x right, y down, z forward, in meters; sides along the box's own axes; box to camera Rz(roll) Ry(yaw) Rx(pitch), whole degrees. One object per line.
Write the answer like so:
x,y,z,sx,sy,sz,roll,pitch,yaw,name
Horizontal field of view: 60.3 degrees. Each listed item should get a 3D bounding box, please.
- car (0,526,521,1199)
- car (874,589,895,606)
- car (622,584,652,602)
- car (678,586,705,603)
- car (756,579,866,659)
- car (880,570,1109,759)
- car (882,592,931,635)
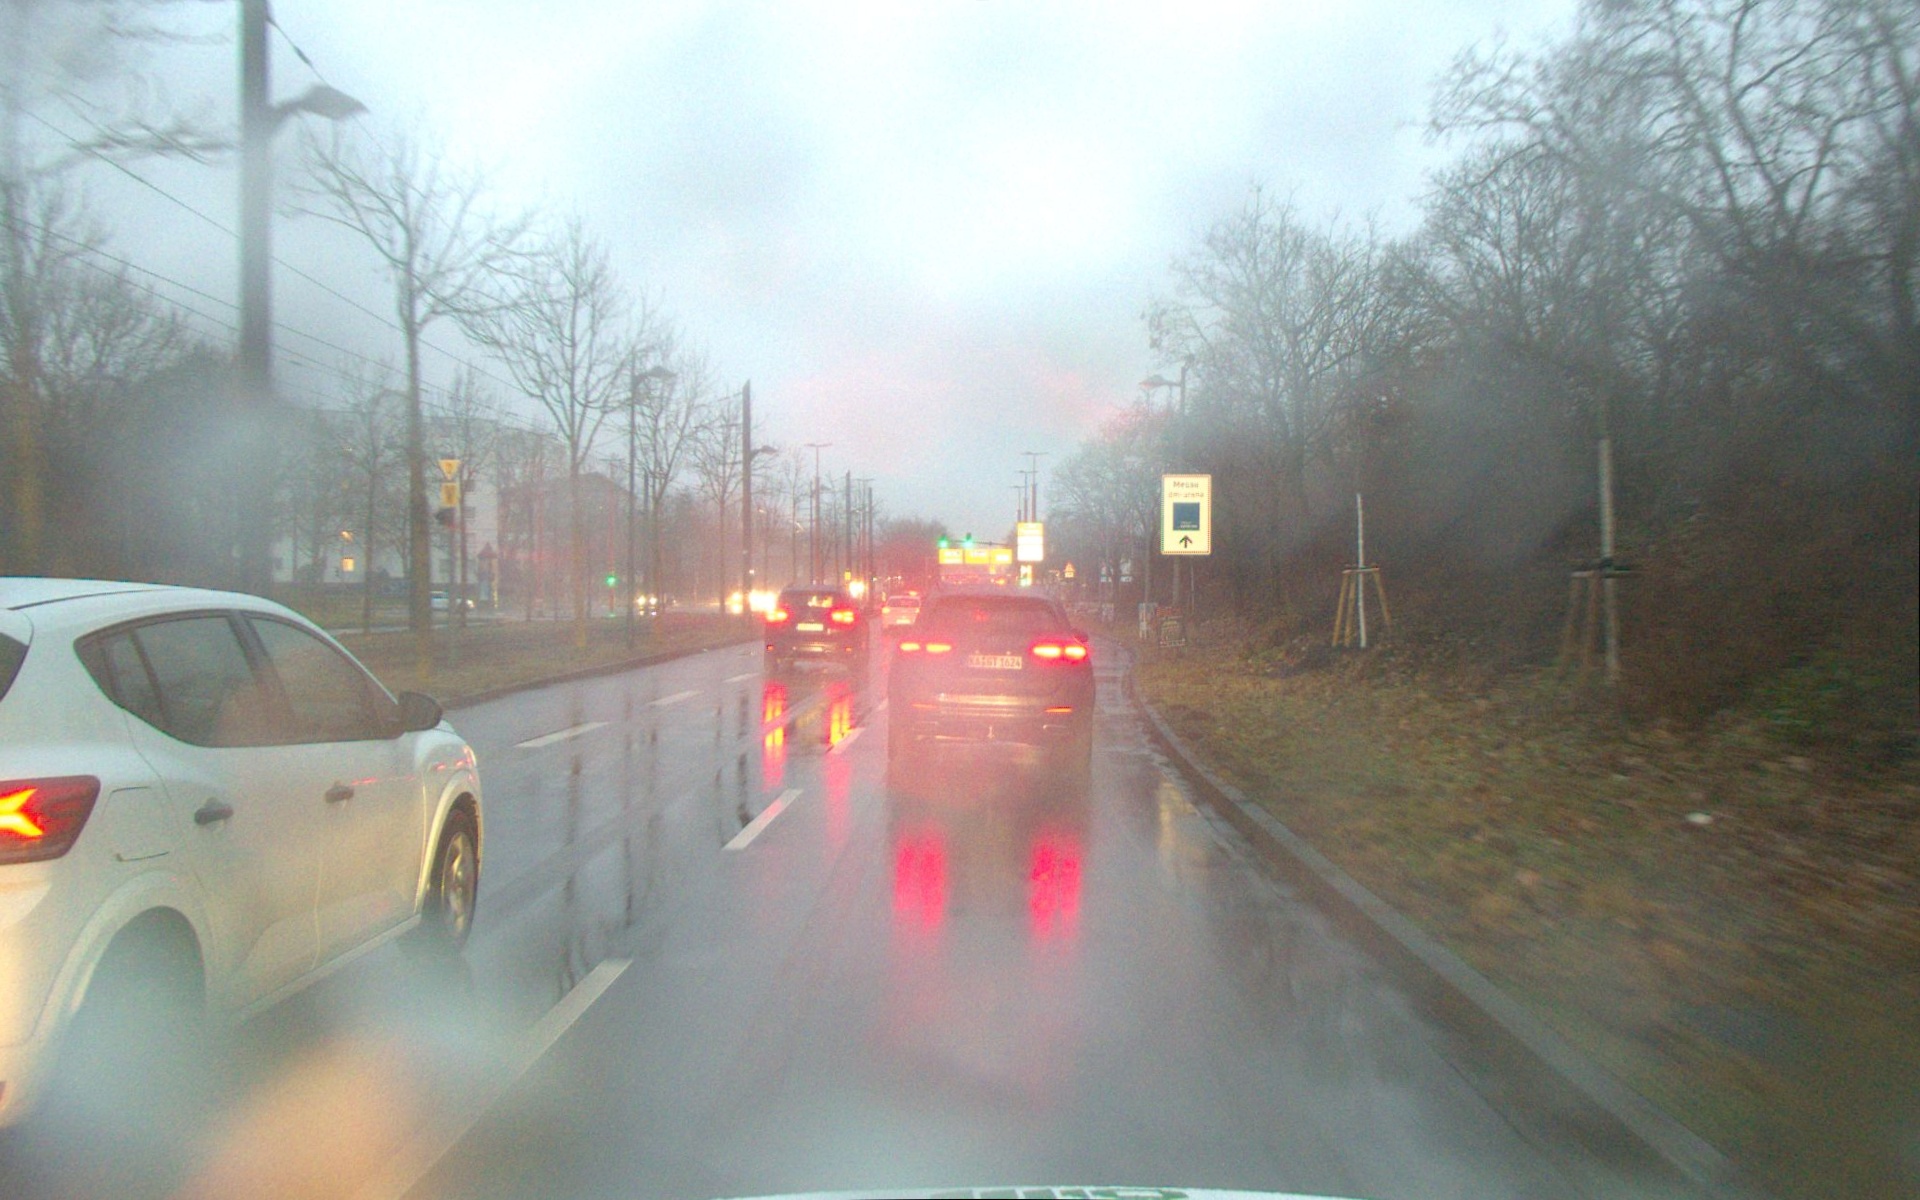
-2.733,0.629,5.206,1.674,1.551,4.134,0,0,-1,car
-7.995,-0.265,175.705,1.952,1.695,3.837,0,0,1,car
-31.131,-0.671,159.466,1.952,1.687,4.000,1,0,1,car
-27.008,-0.542,166.272,1.952,1.687,4.000,1,0,1,car
-2.877,0.328,32.743,1.842,1.485,4.000,0,1,0,car
0.313,0.539,16.269,1.957,1.612,4.000,1,0,0,car
-1.988,0.491,62.346,1.673,1.585,3.996,0,0,1,car
